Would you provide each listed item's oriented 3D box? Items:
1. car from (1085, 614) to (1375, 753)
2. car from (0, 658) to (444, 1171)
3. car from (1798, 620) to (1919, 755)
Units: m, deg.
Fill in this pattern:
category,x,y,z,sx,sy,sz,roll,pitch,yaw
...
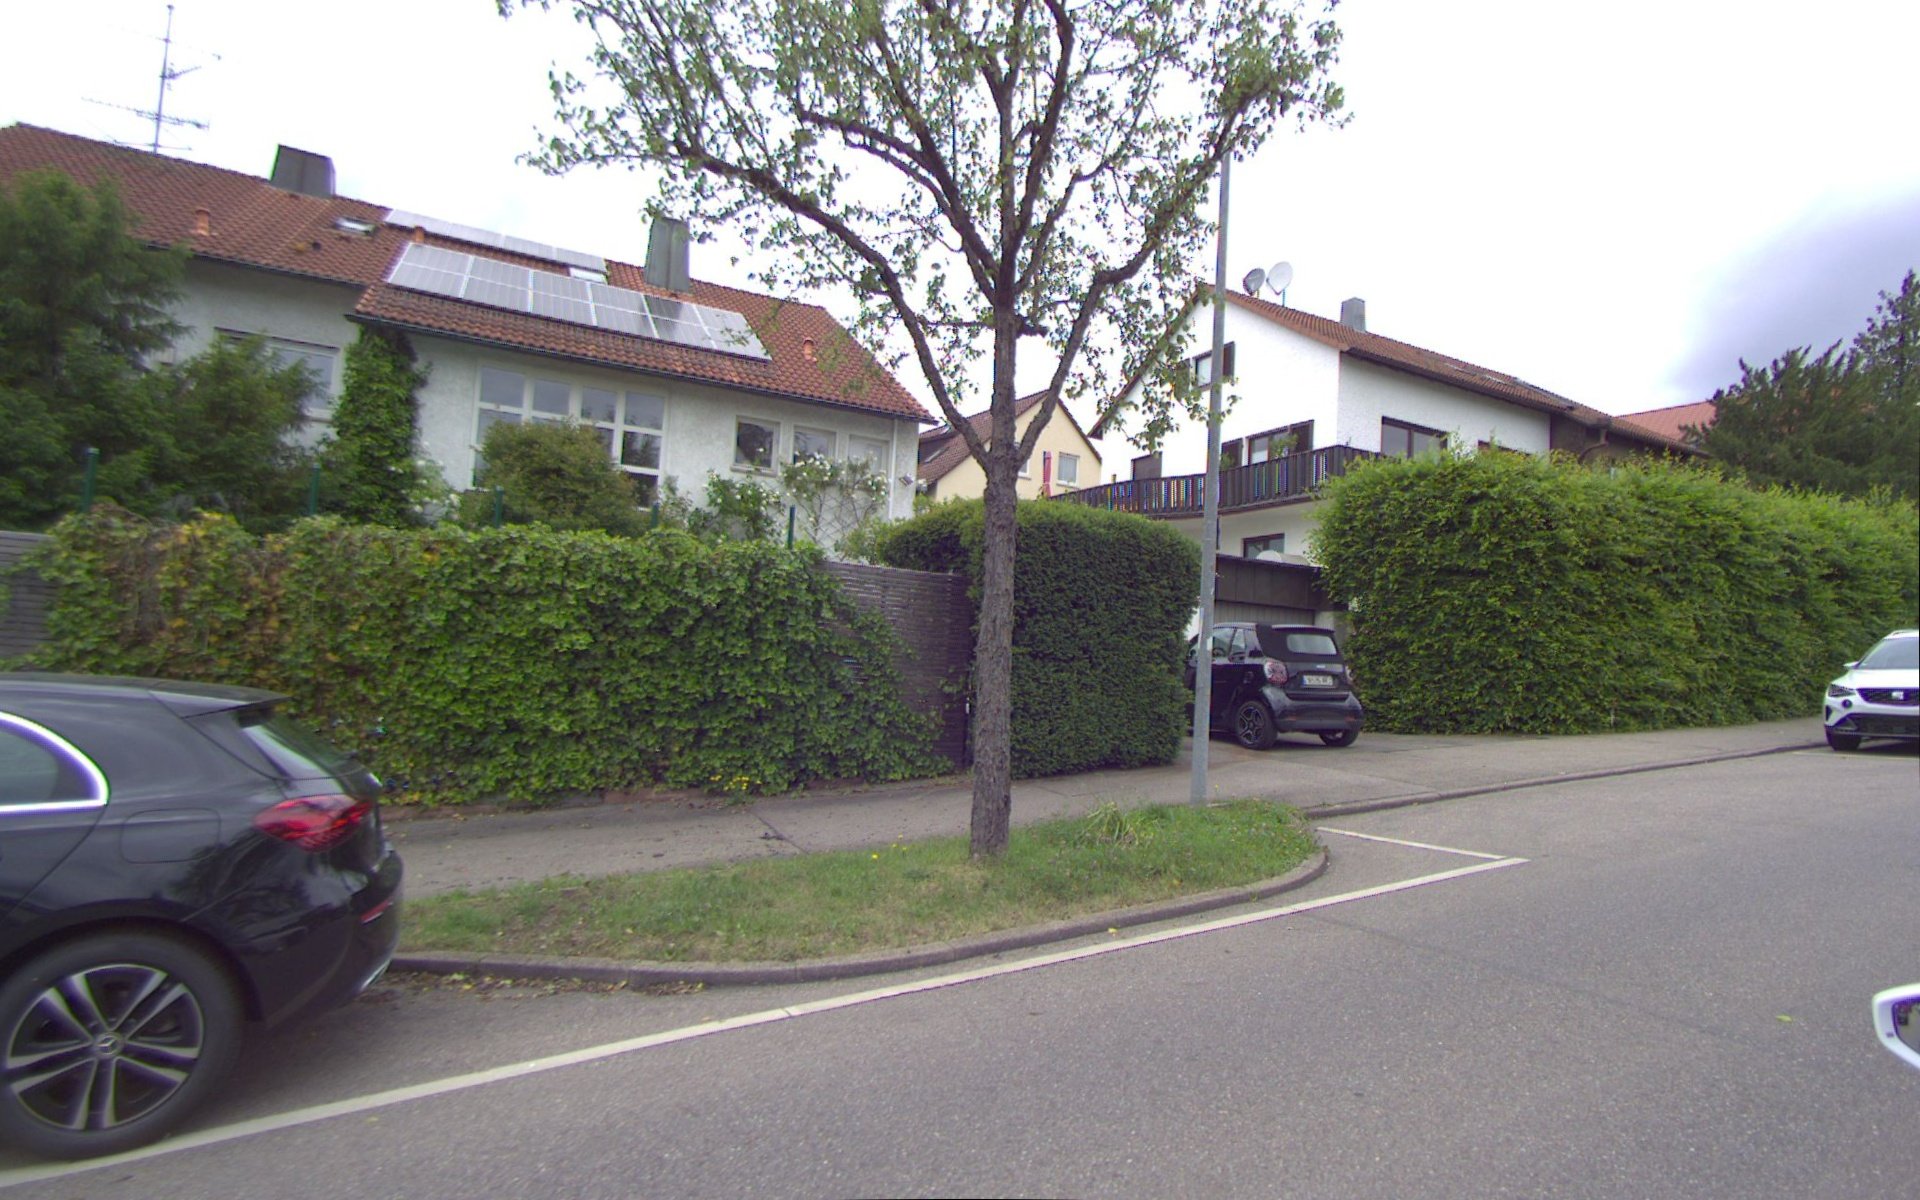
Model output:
category,x,y,z,sx,sy,sz,roll,pitch,yaw
car,3.535,1.003,13.912,1.763,1.554,3.975,0,0,-25
car,-3.932,0.923,3.180,4.030,1.441,1.720,1,-4,-29
car,12.657,1.044,12.915,3.956,1.560,1.713,1,-3,-32
